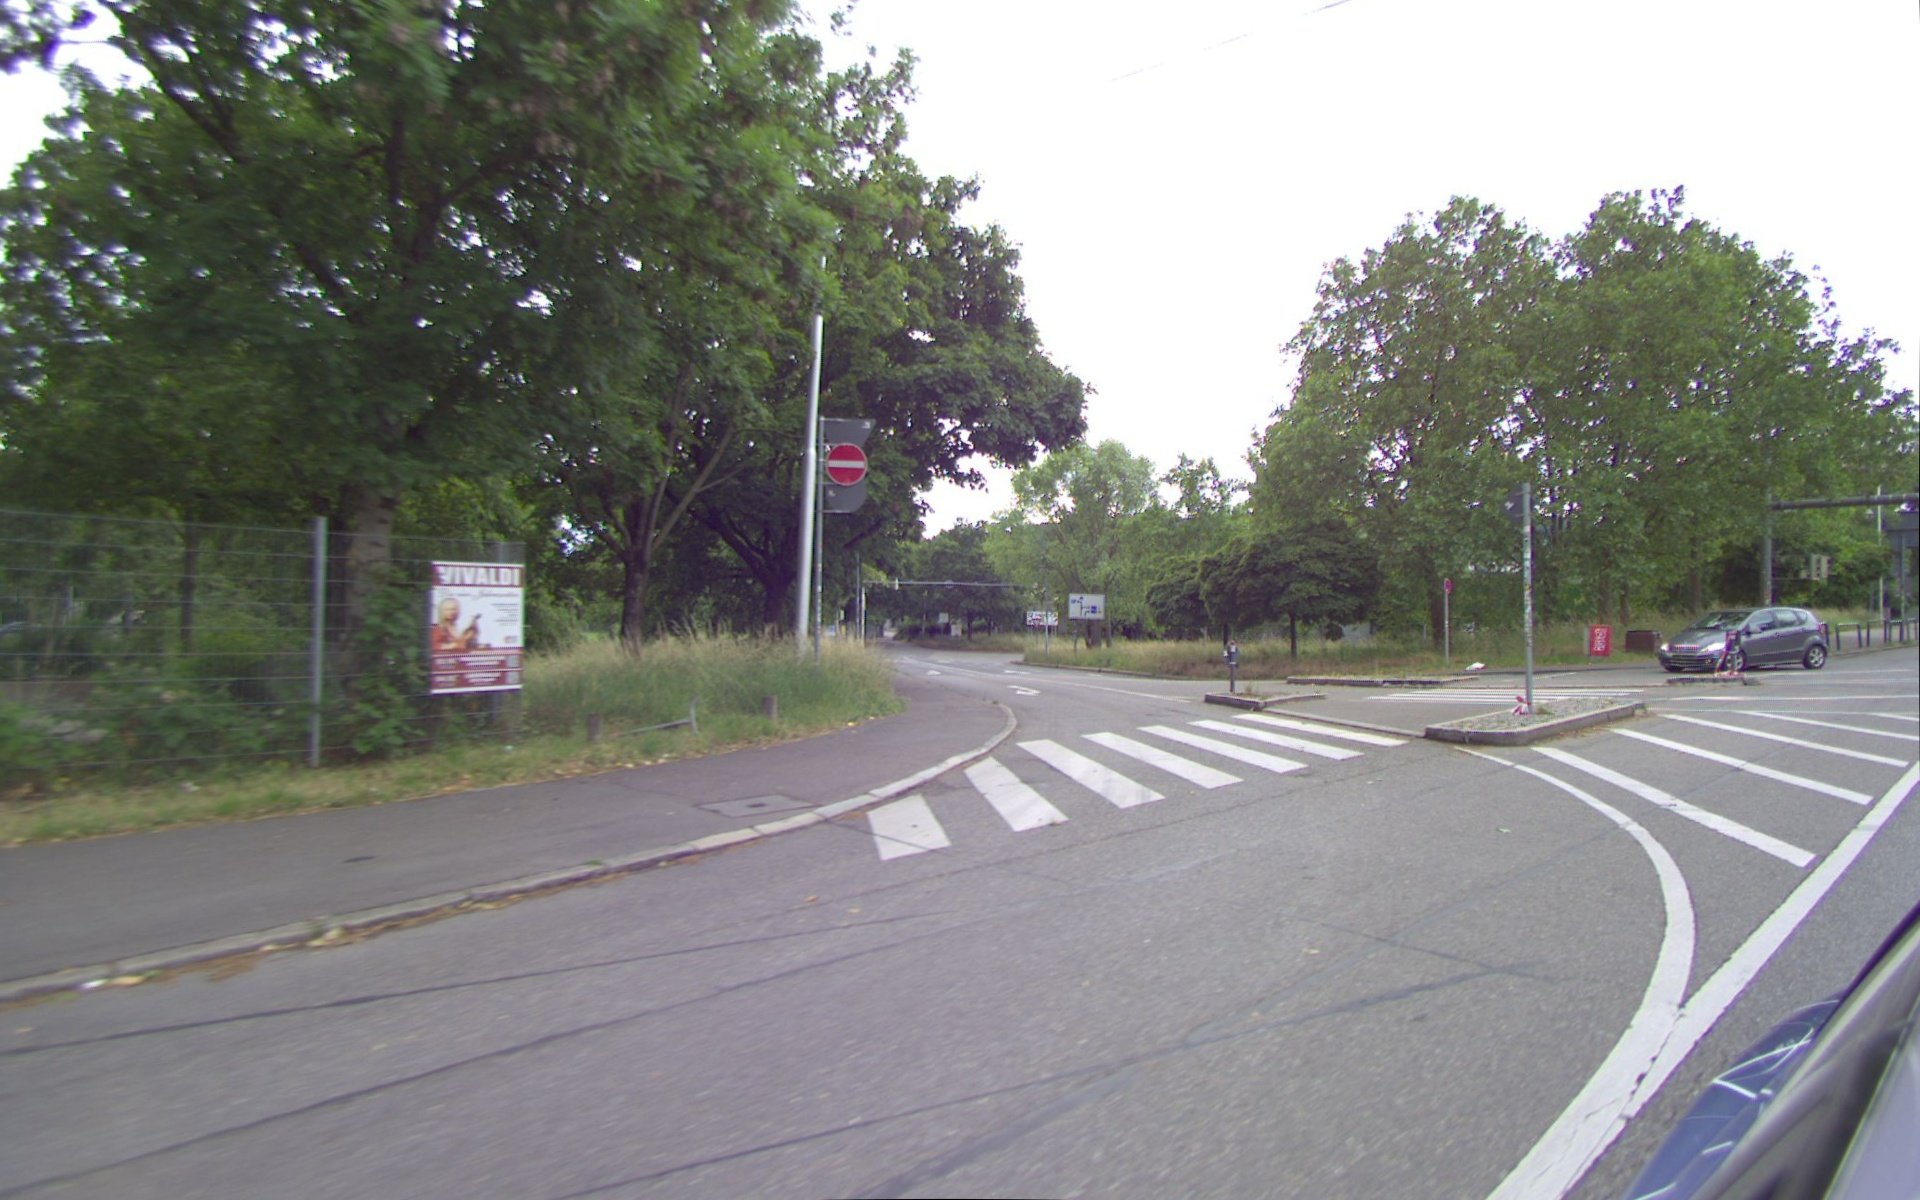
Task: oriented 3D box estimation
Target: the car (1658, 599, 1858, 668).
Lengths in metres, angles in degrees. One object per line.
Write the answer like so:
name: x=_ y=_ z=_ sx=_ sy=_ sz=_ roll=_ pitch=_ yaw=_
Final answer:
car: x=19.936 y=0.840 z=25.335 sx=3.949 sy=1.637 sz=1.835 roll=1 pitch=-1 yaw=-13
